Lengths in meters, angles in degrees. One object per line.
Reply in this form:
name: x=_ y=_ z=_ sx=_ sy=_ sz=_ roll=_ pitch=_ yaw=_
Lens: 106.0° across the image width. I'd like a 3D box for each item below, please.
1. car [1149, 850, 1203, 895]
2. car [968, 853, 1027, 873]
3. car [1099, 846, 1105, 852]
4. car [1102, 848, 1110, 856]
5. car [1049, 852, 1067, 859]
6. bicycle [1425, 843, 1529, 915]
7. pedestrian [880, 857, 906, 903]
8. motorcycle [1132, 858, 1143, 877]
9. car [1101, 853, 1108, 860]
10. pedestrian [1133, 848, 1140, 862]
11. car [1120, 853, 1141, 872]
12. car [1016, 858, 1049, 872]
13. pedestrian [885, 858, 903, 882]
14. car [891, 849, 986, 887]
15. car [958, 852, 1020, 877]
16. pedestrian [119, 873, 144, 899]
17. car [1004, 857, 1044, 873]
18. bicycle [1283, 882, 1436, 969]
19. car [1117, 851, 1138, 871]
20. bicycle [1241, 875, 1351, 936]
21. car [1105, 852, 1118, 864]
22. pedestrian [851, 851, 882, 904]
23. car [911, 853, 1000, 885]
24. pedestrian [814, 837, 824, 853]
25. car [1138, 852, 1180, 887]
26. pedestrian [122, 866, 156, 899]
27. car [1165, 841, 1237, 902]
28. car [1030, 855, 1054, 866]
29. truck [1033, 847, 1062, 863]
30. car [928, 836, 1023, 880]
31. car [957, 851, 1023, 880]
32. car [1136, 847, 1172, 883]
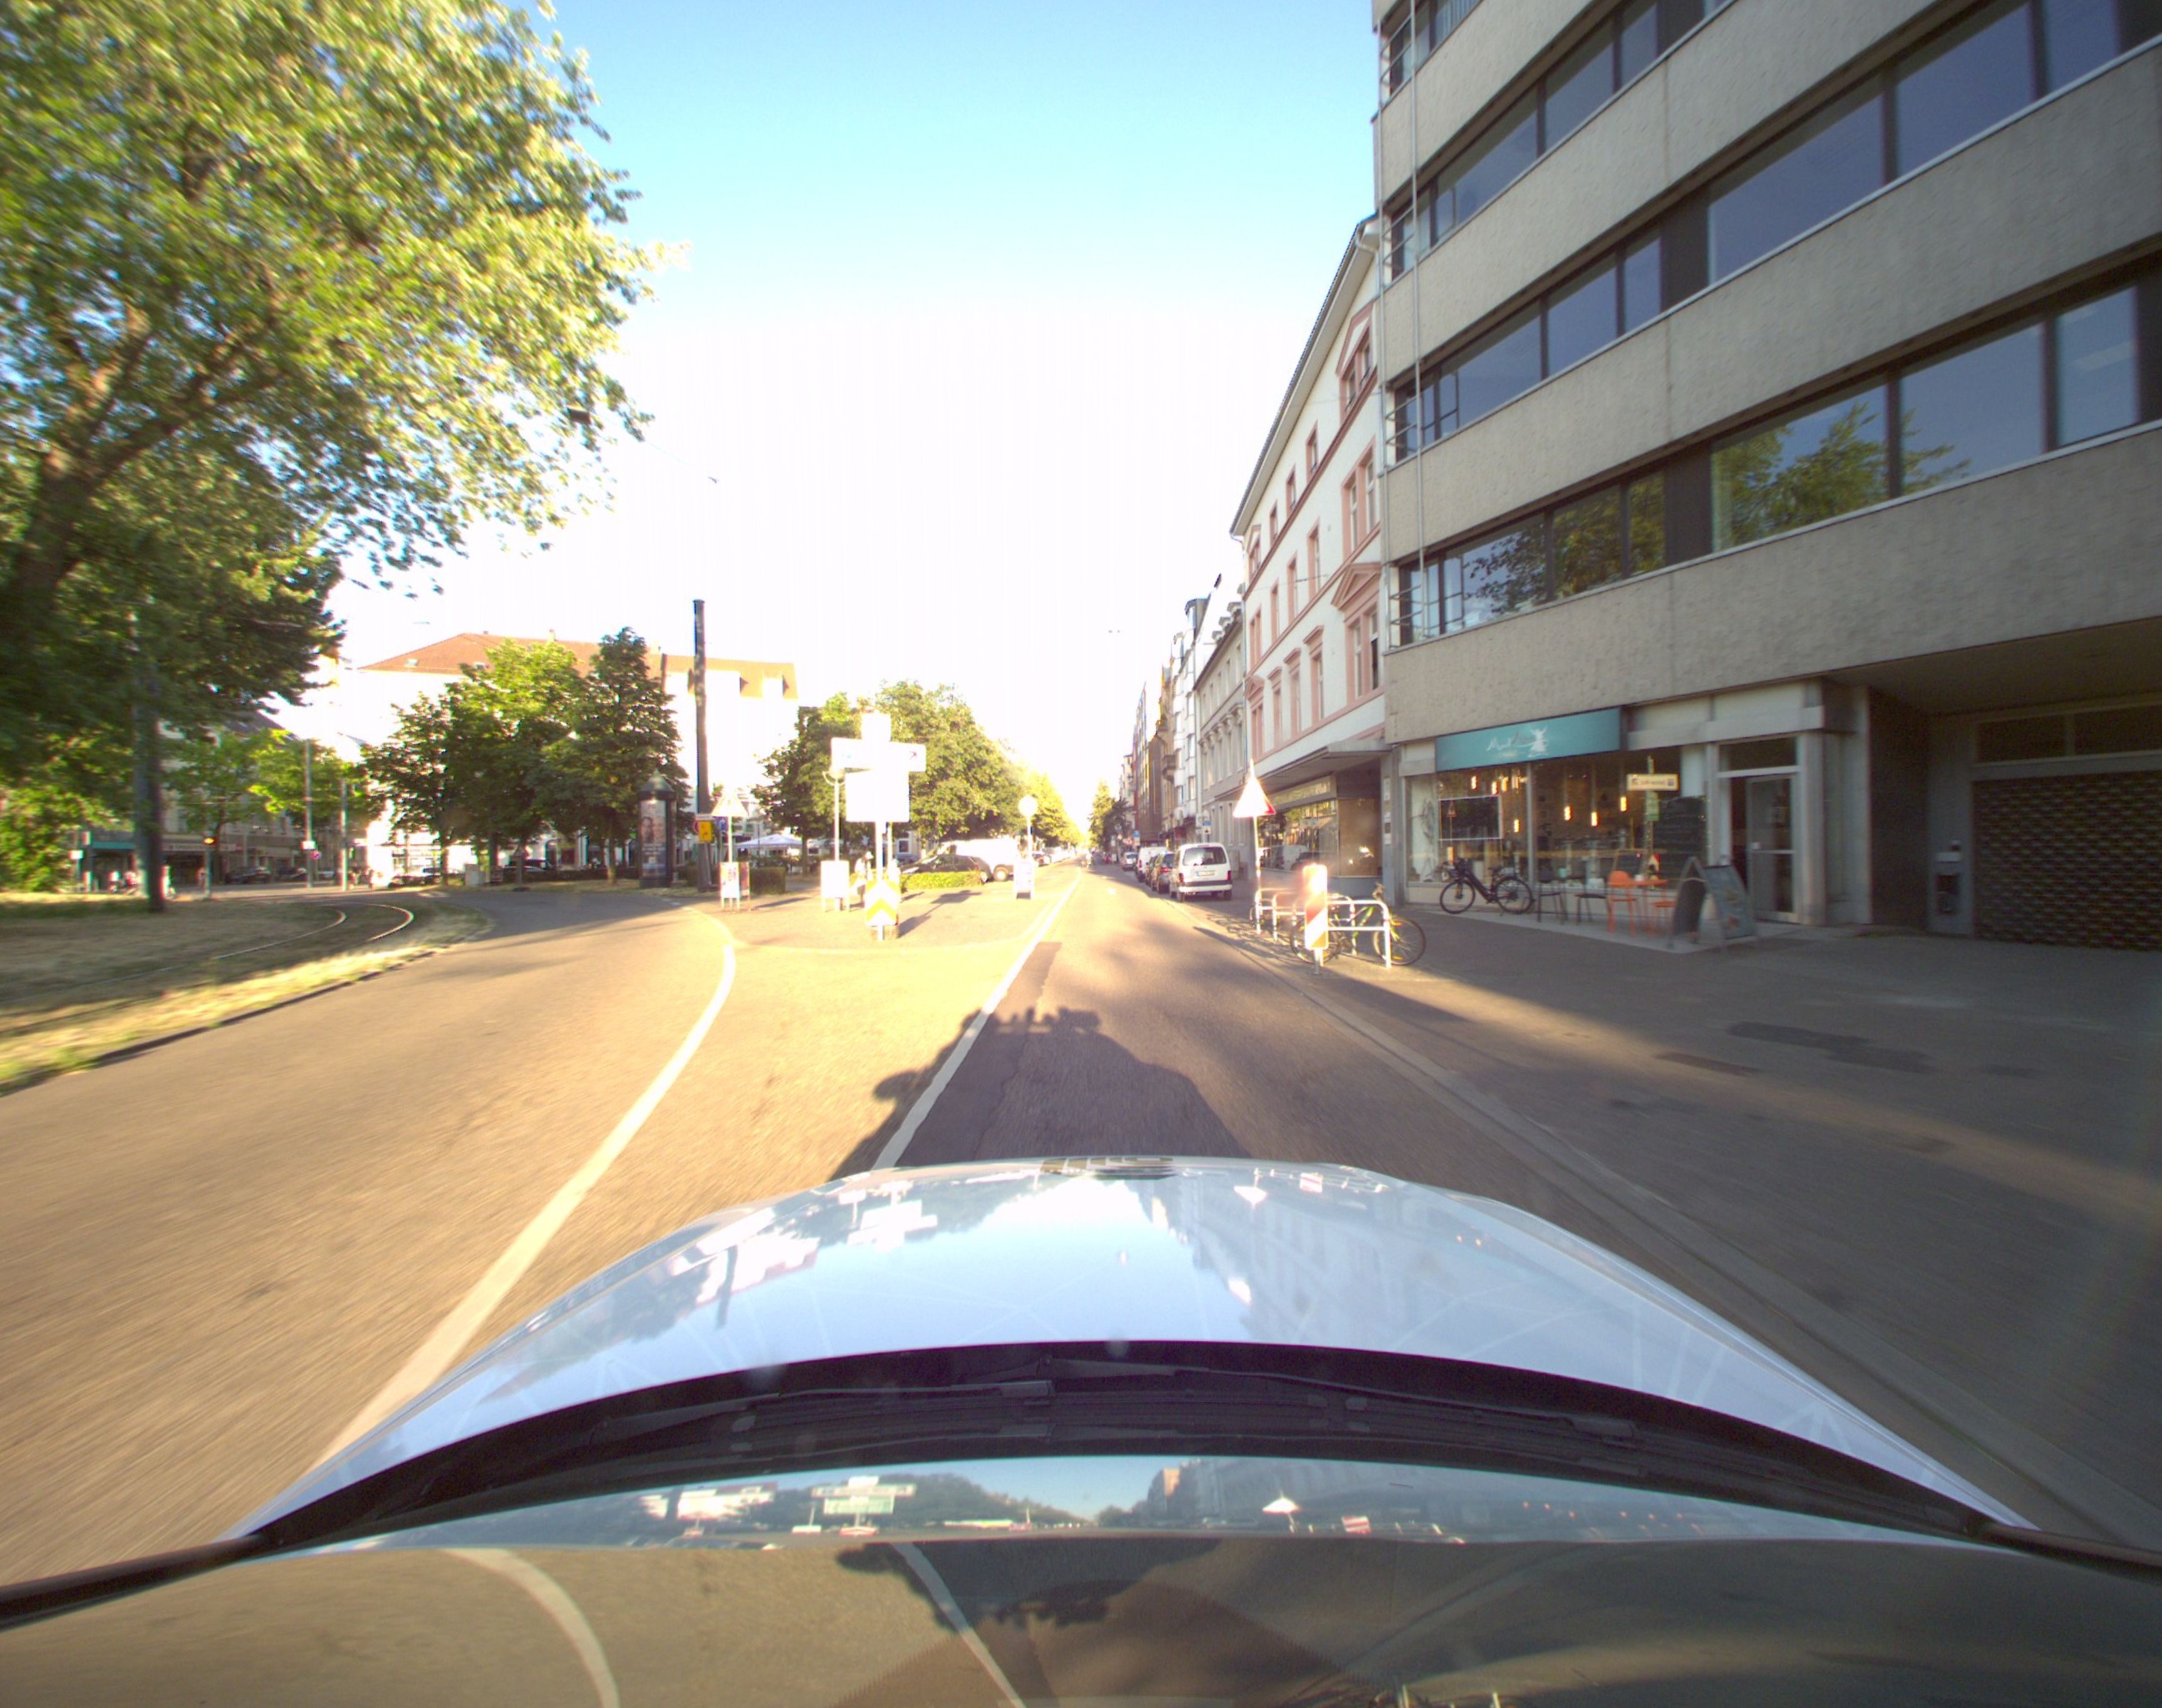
car: x=3.674 y=0.672 z=32.019 sx=1.651 sy=1.665 sz=4.107 roll=0 pitch=0 yaw=0
car: x=-6.228 y=0.645 z=60.788 sx=4.010 sy=1.486 sz=1.982 roll=0 pitch=0 yaw=-29
car: x=5.656 y=-1.344 z=220.321 sx=1.305 sy=1.600 sz=2.659 roll=0 pitch=-1 yaw=-2
car: x=4.426 y=-0.345 z=145.705 sx=1.203 sy=1.300 sz=2.659 roll=1 pitch=0 yaw=-2
car: x=-4.910 y=0.304 z=173.340 sx=3.727 sy=1.493 sz=2.000 roll=0 pitch=0 yaw=0
bicycle: x=7.454 y=0.495 z=15.388 sx=0.417 sy=1.277 sz=1.644 roll=-1 pitch=-3 yaw=-42
pedestrian: x=-5.707 y=0.768 z=24.738 sx=0.567 sy=1.364 sz=0.607 roll=0 pitch=0 yaw=-37
motorcycle: x=3.735 y=0.898 z=53.946 sx=0.586 sy=1.200 sz=2.210 roll=0 pitch=0 yaw=0
car: x=4.342 y=0.495 z=149.805 sx=1.203 sy=1.300 sz=2.659 roll=0 pitch=-1 yaw=-2
pedestrian: x=6.902 y=0.169 z=100.855 sx=0.763 sy=1.689 sz=0.785 roll=-2 pitch=0 yaw=-2
car: x=4.272 y=0.718 z=70.738 sx=1.673 sy=1.561 sz=4.004 roll=-3 pitch=0 yaw=3
car: x=-6.010 y=1.353 z=101.164 sx=3.977 sy=1.708 sz=1.833 roll=0 pitch=0 yaw=0
pedestrian: x=-10.128 y=0.860 z=44.176 sx=0.752 sy=1.277 sz=0.654 roll=0 pitch=0 yaw=-37
car: x=-6.435 y=0.598 z=37.029 sx=3.903 sy=1.582 sz=1.782 roll=-1 pitch=1 yaw=-39
car: x=-6.422 y=0.732 z=56.871 sx=4.017 sy=1.696 sz=1.731 roll=0 pitch=0 yaw=-36
pedestrian: x=-72.610 y=2.453 z=62.264 sx=0.894 sy=1.921 sz=0.873 roll=-1 pitch=2 yaw=-23
car: x=-6.600 y=1.266 z=93.973 sx=4.434 sy=1.835 sz=2.033 roll=0 pitch=0 yaw=0
bicycle: x=3.569 y=0.923 z=10.557 sx=1.776 sy=0.990 sz=0.544 roll=-4 pitch=1 yaw=12
car: x=4.315 y=0.611 z=75.790 sx=1.691 sy=1.769 sz=4.000 roll=-1 pitch=0 yaw=0
bicycle: x=3.831 y=0.928 z=14.548 sx=1.772 sy=0.990 sz=0.545 roll=-3 pitch=1 yaw=23
car: x=4.350 y=0.571 z=117.774 sx=1.572 sy=1.543 sz=3.394 roll=-3 pitch=-1 yaw=-2
pedestrian: x=-6.408 y=0.678 z=24.293 sx=0.703 sy=1.559 sz=0.687 roll=0 pitch=0 yaw=-37
car: x=-6.178 y=0.707 z=40.386 sx=4.020 sy=1.486 sz=1.812 roll=0 pitch=0 yaw=-39
pedestrian: x=-19.699 y=-0.687 z=61.263 sx=0.530 sy=1.216 sz=0.527 roll=-2 pitch=0 yaw=8
car: x=3.618 y=0.706 z=38.244 sx=1.661 sy=1.544 sz=3.883 roll=0 pitch=0 yaw=0
pedestrian: x=-49.581 y=1.480 z=42.862 sx=0.741 sy=1.699 sz=0.824 roll=0 pitch=2 yaw=1
car: x=3.811 y=0.527 z=26.520 sx=1.786 sy=1.792 sz=4.092 roll=-1 pitch=0 yaw=1
car: x=-6.174 y=0.998 z=128.628 sx=3.727 sy=1.596 sz=2.000 roll=0 pitch=0 yaw=0
truck: x=-5.719 y=0.147 z=140.220 sx=4.925 sy=2.615 sz=2.000 roll=-1 pitch=0 yaw=0
car: x=-5.696 y=0.208 z=43.992 sx=4.622 sy=2.251 sz=2.184 roll=0 pitch=0 yaw=-26
car: x=-6.044 y=0.713 z=54.124 sx=4.017 sy=1.878 sz=1.851 roll=0 pitch=0 yaw=-35
car: x=3.946 y=0.562 z=44.522 sx=1.703 sy=1.835 sz=4.308 roll=0 pitch=0 yaw=2
